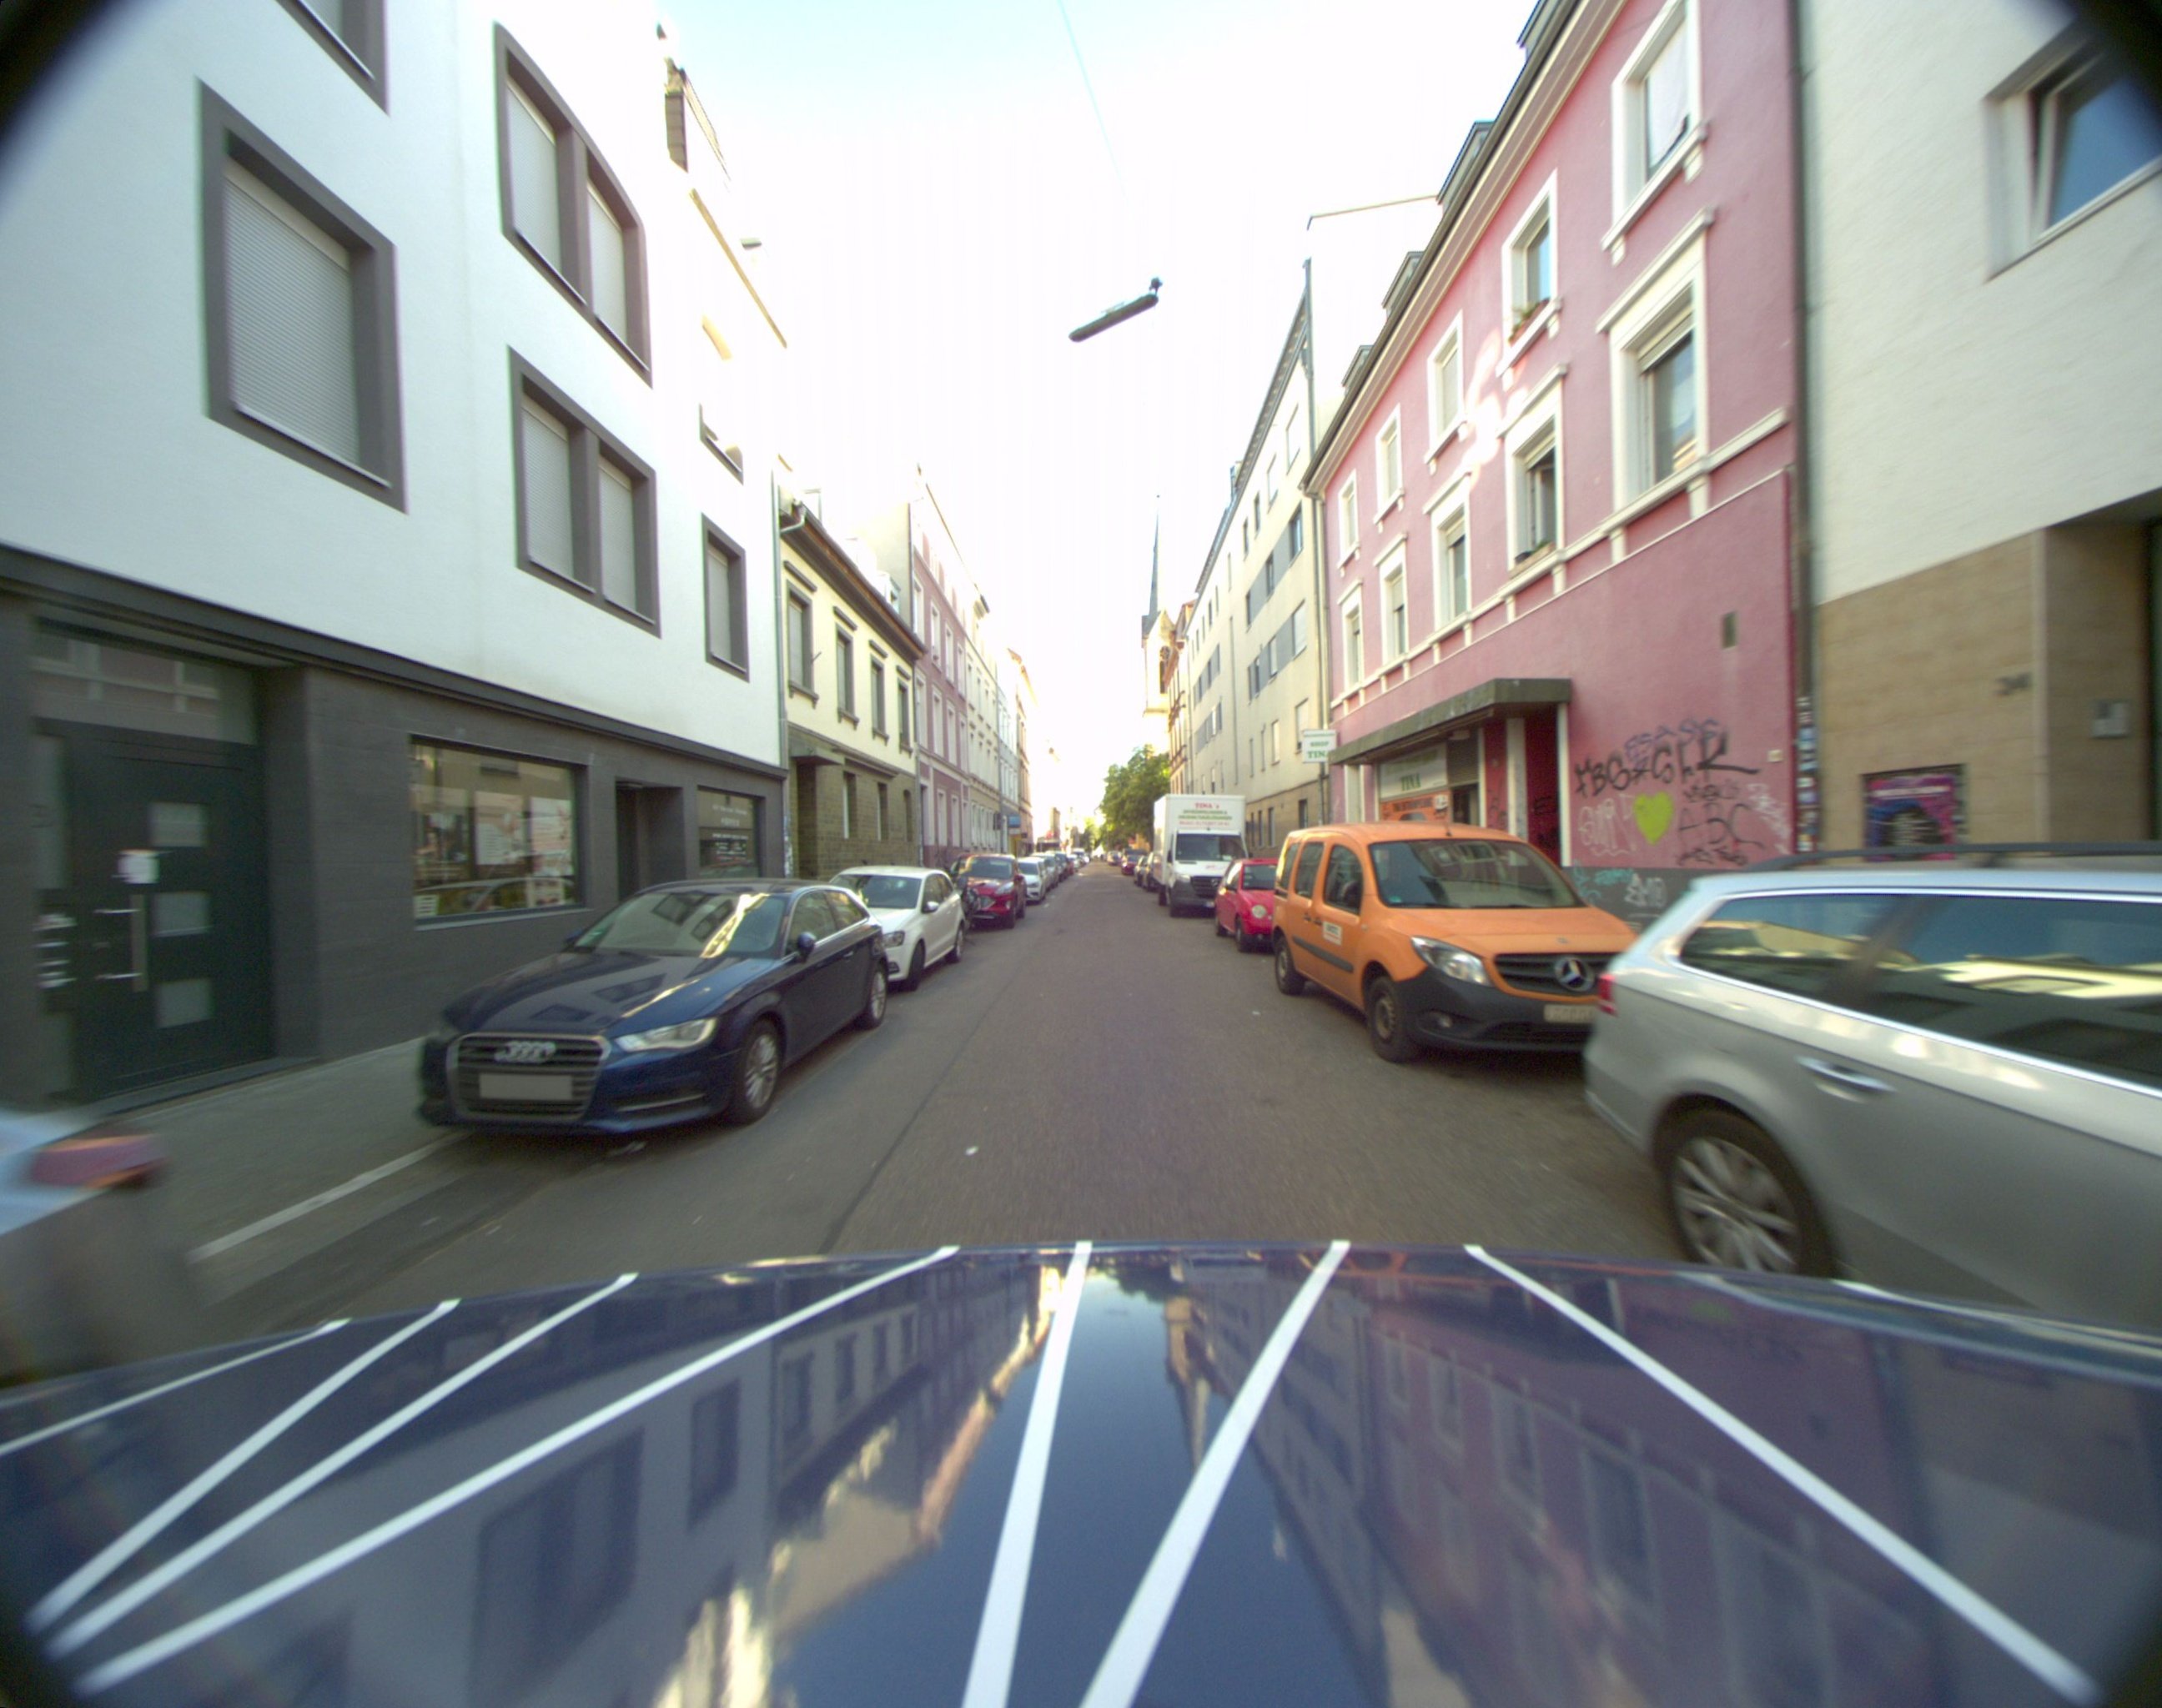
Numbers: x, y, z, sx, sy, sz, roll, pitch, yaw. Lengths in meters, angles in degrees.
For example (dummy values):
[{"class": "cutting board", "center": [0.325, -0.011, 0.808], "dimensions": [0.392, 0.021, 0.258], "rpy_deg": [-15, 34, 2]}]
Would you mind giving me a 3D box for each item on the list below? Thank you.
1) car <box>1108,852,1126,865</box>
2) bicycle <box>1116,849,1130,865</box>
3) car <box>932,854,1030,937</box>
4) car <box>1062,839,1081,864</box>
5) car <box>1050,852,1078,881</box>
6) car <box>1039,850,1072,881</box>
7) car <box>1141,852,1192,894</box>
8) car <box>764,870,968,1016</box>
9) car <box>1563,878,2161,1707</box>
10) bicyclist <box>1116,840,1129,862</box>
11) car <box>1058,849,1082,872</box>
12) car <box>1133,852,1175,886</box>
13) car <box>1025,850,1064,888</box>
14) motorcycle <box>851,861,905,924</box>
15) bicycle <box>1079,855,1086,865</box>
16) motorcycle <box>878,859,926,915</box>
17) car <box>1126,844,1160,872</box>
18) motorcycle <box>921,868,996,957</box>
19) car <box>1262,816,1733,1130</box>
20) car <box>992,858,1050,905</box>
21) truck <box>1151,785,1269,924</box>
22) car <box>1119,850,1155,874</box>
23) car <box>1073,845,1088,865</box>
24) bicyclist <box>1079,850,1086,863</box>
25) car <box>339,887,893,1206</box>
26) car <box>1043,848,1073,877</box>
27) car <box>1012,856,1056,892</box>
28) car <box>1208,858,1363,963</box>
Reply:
[{"class": "car", "center": [4.623, 0.530, 98.654], "dimensions": [1.927, 1.522, 4.562], "rpy_deg": [-3, 1, -2]}, {"class": "bicycle", "center": [4.429, 0.311, 79.903], "dimensions": [1.020, 1.641, 3.546], "rpy_deg": [-3, 1, -3]}, {"class": "car", "center": [-2.278, 0.877, 18.396], "dimensions": [1.713, 1.721, 4.407], "rpy_deg": [0, 1, 1]}, {"class": "car", "center": [-1.118, -0.281, 88.942], "dimensions": [1.999, 2.777, 4.562], "rpy_deg": [-3, 1, -2]}, {"class": "car", "center": [-1.289, 0.944, 58.746], "dimensions": [1.999, 2.002, 4.563], "rpy_deg": [-3, 1, -1]}, {"class": "car", "center": [-1.444, 0.636, 44.745], "dimensions": [1.713, 1.721, 4.220], "rpy_deg": [0, 1, 1]}, {"class": "car", "center": [3.445, 0.724, 31.260], "dimensions": [1.687, 1.579, 3.914], "rpy_deg": [1, 1, 1]}, {"class": "car", "center": [-2.652, 1.018, 10.264], "dimensions": [1.620, 1.495, 3.772], "rpy_deg": [0, 1, 1]}, {"class": "car", "center": [2.814, 0.871, 0.882], "dimensions": [1.677, 1.488, 4.530], "rpy_deg": [0, 1, 1]}, {"class": "bicyclist", "center": [4.365, -0.323, 79.900], "dimensions": [1.020, 2.280, 1.531], "rpy_deg": [-3, 1, -4]}, {"class": "car", "center": [-1.084, 0.590, 71.036], "dimensions": [1.999, 2.002, 4.562], "rpy_deg": [-3, 1, -2]}, {"class": "car", "center": [3.503, 0.698, 37.114], "dimensions": [1.687, 1.482, 3.914], "rpy_deg": [1, 1, 1]}, {"class": "car", "center": [-1.764, 0.697, 37.907], "dimensions": [1.713, 1.721, 4.220], "rpy_deg": [0, 1, 1]}, {"class": "motorcycle", "center": [-4.908, 0.895, 18.471], "dimensions": [0.667, 1.388, 2.037], "rpy_deg": [-3, 1, 1]}, {"class": "bicycle", "center": [0.189, 0.727, 96.921], "dimensions": [0.729, 1.173, 2.488], "rpy_deg": [-3, 1, -1]}, {"class": "motorcycle", "center": [-4.844, 0.868, 20.697], "dimensions": [0.697, 1.388, 2.037], "rpy_deg": [-3, 1, 1]}, {"class": "car", "center": [4.825, 0.286, 59.814], "dimensions": [1.999, 2.002, 4.562], "rpy_deg": [-3, 1, -2]}, {"class": "motorcycle", "center": [-2.249, 1.034, 14.288], "dimensions": [0.990, 1.481, 2.267], "rpy_deg": [0, 1, 1]}, {"class": "car", "center": [2.946, 0.681, 6.583], "dimensions": [1.807, 1.834, 4.244], "rpy_deg": [-1, 1, 1]}, {"class": "car", "center": [-2.006, 0.891, 26.364], "dimensions": [1.612, 1.388, 3.881], "rpy_deg": [-2, 1, 1]}, {"class": "truck", "center": [3.286, -0.023, 20.960], "dimensions": [2.296, 3.165, 7.045], "rpy_deg": [-1, 1, 2]}, {"class": "car", "center": [3.904, 0.522, 53.531], "dimensions": [1.927, 1.522, 4.562], "rpy_deg": [-3, 1, -2]}, {"class": "car", "center": [-0.158, 0.153, 114.988], "dimensions": [1.999, 2.777, 4.562], "rpy_deg": [-3, 1, -2]}, {"class": "bicyclist", "center": [0.173, 0.300, 96.882], "dimensions": [0.716, 1.650, 0.877], "rpy_deg": [-3, 1, -1]}, {"class": "car", "center": [-2.805, 1.050, 5.740], "dimensions": [1.736, 1.388, 3.881], "rpy_deg": [0, 1, 1]}, {"class": "car", "center": [-1.472, 0.537, 49.969], "dimensions": [1.713, 1.802, 4.220], "rpy_deg": [0, 1, 1]}, {"class": "car", "center": [-1.988, 0.840, 33.278], "dimensions": [1.612, 1.444, 3.881], "rpy_deg": [0, 1, 1]}, {"class": "car", "center": [3.267, 0.832, 12.851], "dimensions": [1.687, 1.458, 3.660], "rpy_deg": [-1, 1, 1]}]
